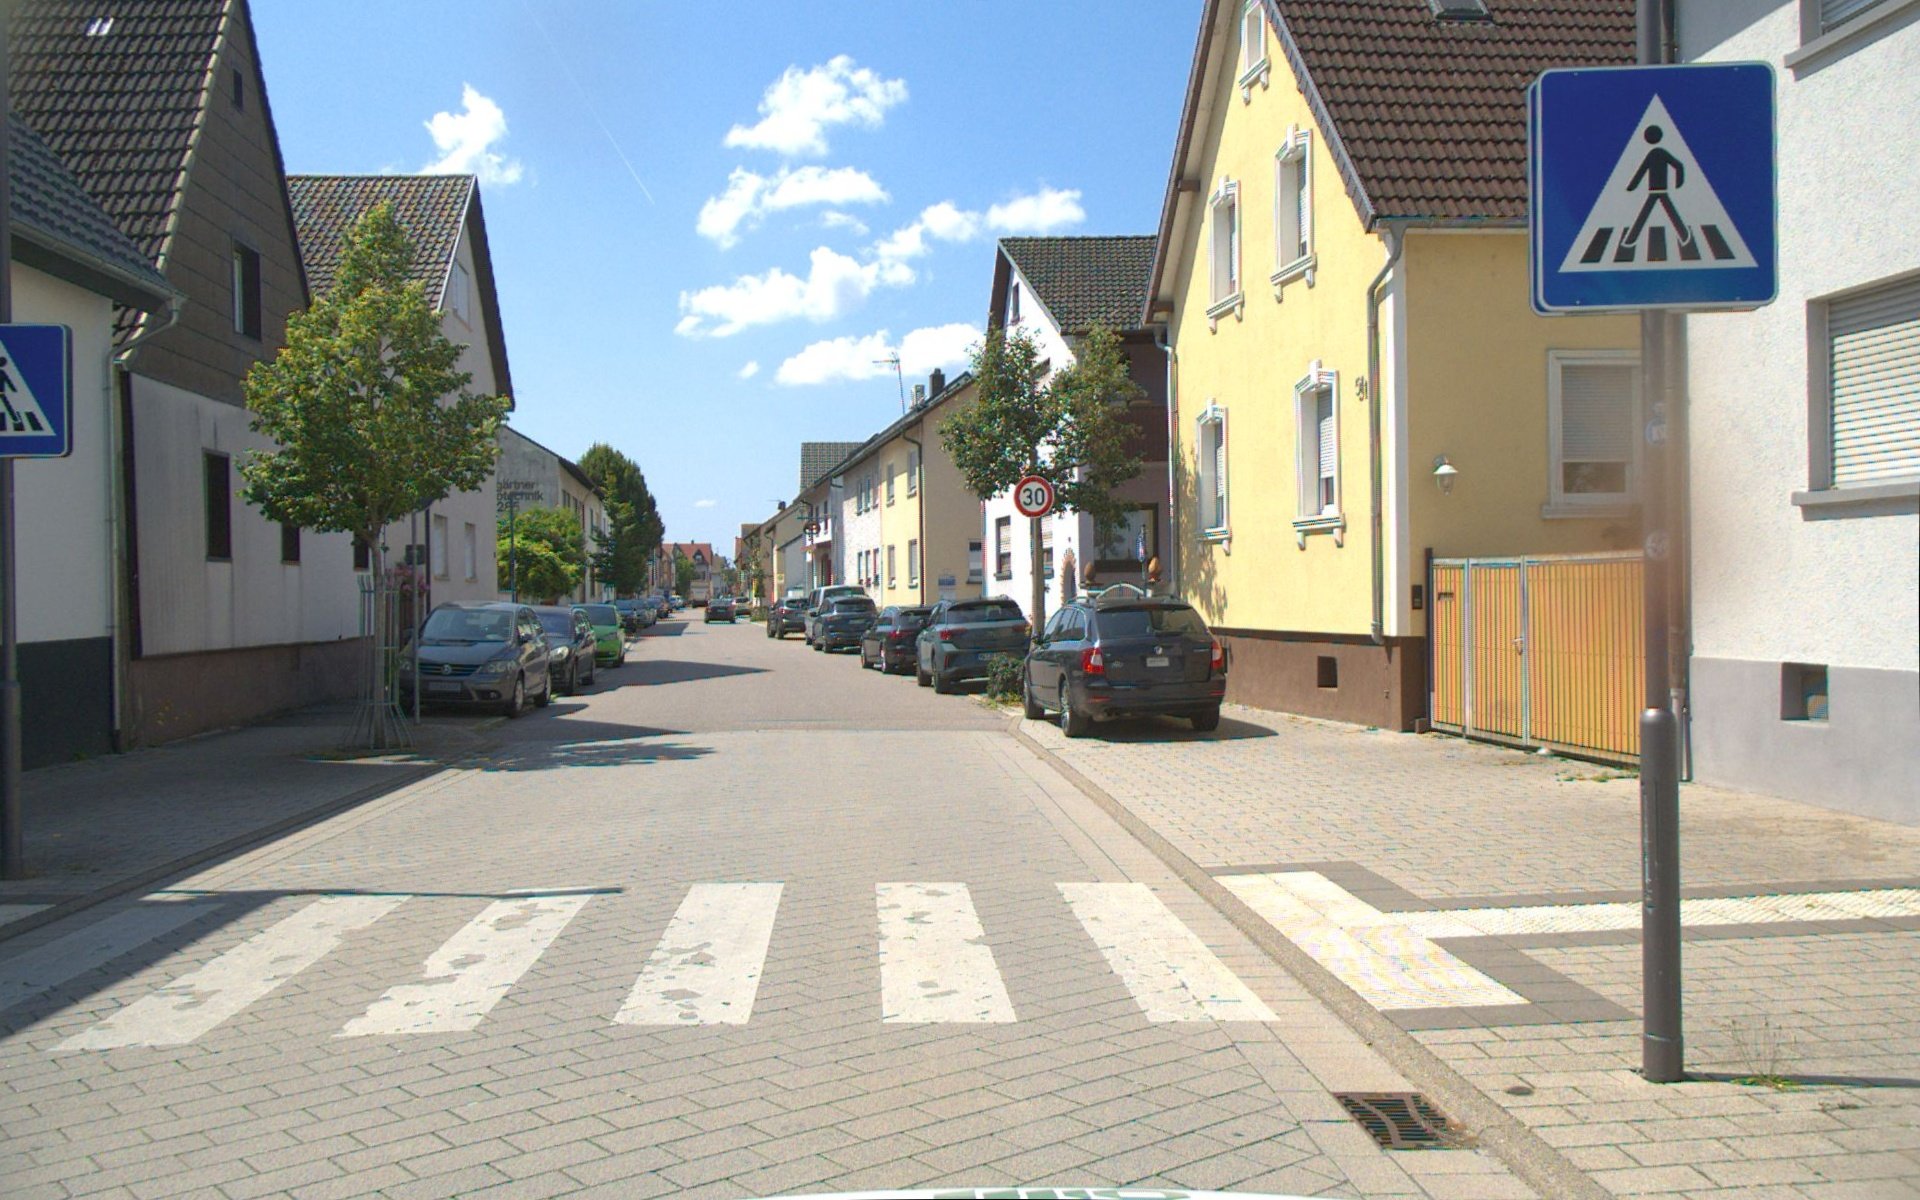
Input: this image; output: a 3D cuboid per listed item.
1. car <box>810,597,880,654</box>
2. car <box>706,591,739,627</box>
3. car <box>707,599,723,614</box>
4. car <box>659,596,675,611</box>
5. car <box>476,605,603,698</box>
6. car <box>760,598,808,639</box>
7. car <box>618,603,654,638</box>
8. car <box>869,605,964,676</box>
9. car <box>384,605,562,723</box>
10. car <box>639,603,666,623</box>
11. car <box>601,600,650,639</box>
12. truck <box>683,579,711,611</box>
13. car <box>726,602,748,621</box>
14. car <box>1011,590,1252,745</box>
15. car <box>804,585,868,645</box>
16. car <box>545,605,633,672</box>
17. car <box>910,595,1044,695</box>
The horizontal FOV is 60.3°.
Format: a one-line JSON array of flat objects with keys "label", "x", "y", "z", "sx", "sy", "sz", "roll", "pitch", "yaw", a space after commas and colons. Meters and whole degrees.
[{"label": "car", "x": -3.513, "y": 0.737, "z": 49.944, "sx": 1.842, "sy": 1.619, "sz": 3.993, "roll": -1, "pitch": 0, "yaw": -8}, {"label": "car", "x": -14.709, "y": 0.547, "z": 102.602, "sx": 1.956, "sy": 2.094, "sz": 4.366, "roll": -1, "pitch": 0, "yaw": -8}, {"label": "car", "x": -26.122, "y": 0.691, "z": 176.338, "sx": 1.657, "sy": 1.478, "sz": 3.784, "roll": -1, "pitch": 0, "yaw": -10}, {"label": "car", "x": -36.605, "y": 0.436, "z": 206.697, "sx": 1.812, "sy": 1.737, "sz": 3.712, "roll": -1, "pitch": 0, "yaw": -8}, {"label": "car", "x": -7.672, "y": 0.894, "z": 30.500, "sx": 1.717, "sy": 1.559, "sz": 4.253, "roll": 0, "pitch": 0, "yaw": -7}, {"label": "car", "x": -6.870, "y": 0.684, "z": 64.375, "sx": 1.721, "sy": 1.519, "sz": 3.993, "roll": -1, "pitch": 0, "yaw": -8}, {"label": "car", "x": -17.306, "y": 1.094, "z": 88.335, "sx": 1.652, "sy": 1.789, "sz": 3.609, "roll": -1, "pitch": 0, "yaw": -8}, {"label": "car", "x": -1.006, "y": 0.842, "z": 36.369, "sx": 1.678, "sy": 1.411, "sz": 3.699, "roll": -1, "pitch": 0, "yaw": -8}, {"label": "car", "x": -7.008, "y": 0.863, "z": 24.190, "sx": 1.713, "sy": 1.557, "sz": 3.996, "roll": 0, "pitch": 0, "yaw": -5}, {"label": "car", "x": -24.261, "y": 1.018, "z": 130.711, "sx": 1.881, "sy": 1.467, "sz": 3.993, "roll": -1, "pitch": 0, "yaw": -8}, {"label": "car", "x": -15.242, "y": 0.858, "z": 75.511, "sx": 1.956, "sy": 1.691, "sz": 3.993, "roll": -1, "pitch": 0, "yaw": -8}, {"label": "truck", "x": -34.686, "y": -0.679, "z": 217.881, "sx": 3.500, "sy": 4.023, "sz": 8.560, "roll": -1, "pitch": 0, "yaw": -10}, {"label": "car", "x": -17.545, "y": 0.898, "z": 129.999, "sx": 1.656, "sy": 1.478, "sz": 3.786, "roll": -1, "pitch": 0, "yaw": -8}, {"label": "car", "x": 1.860, "y": 0.709, "z": 19.317, "sx": 1.795, "sy": 1.497, "sz": 4.269, "roll": -3, "pitch": 0, "yaw": -8}, {"label": "car", "x": -4.193, "y": 0.476, "z": 55.511, "sx": 1.871, "sy": 1.904, "sz": 3.993, "roll": -1, "pitch": 0, "yaw": -8}, {"label": "car", "x": -9.051, "y": 0.904, "z": 40.629, "sx": 1.759, "sy": 1.501, "sz": 3.864, "roll": -1, "pitch": 0, "yaw": -8}, {"label": "car", "x": 0.225, "y": 0.729, "z": 28.798, "sx": 1.812, "sy": 1.590, "sz": 3.687, "roll": -1, "pitch": 0, "yaw": -8}]
